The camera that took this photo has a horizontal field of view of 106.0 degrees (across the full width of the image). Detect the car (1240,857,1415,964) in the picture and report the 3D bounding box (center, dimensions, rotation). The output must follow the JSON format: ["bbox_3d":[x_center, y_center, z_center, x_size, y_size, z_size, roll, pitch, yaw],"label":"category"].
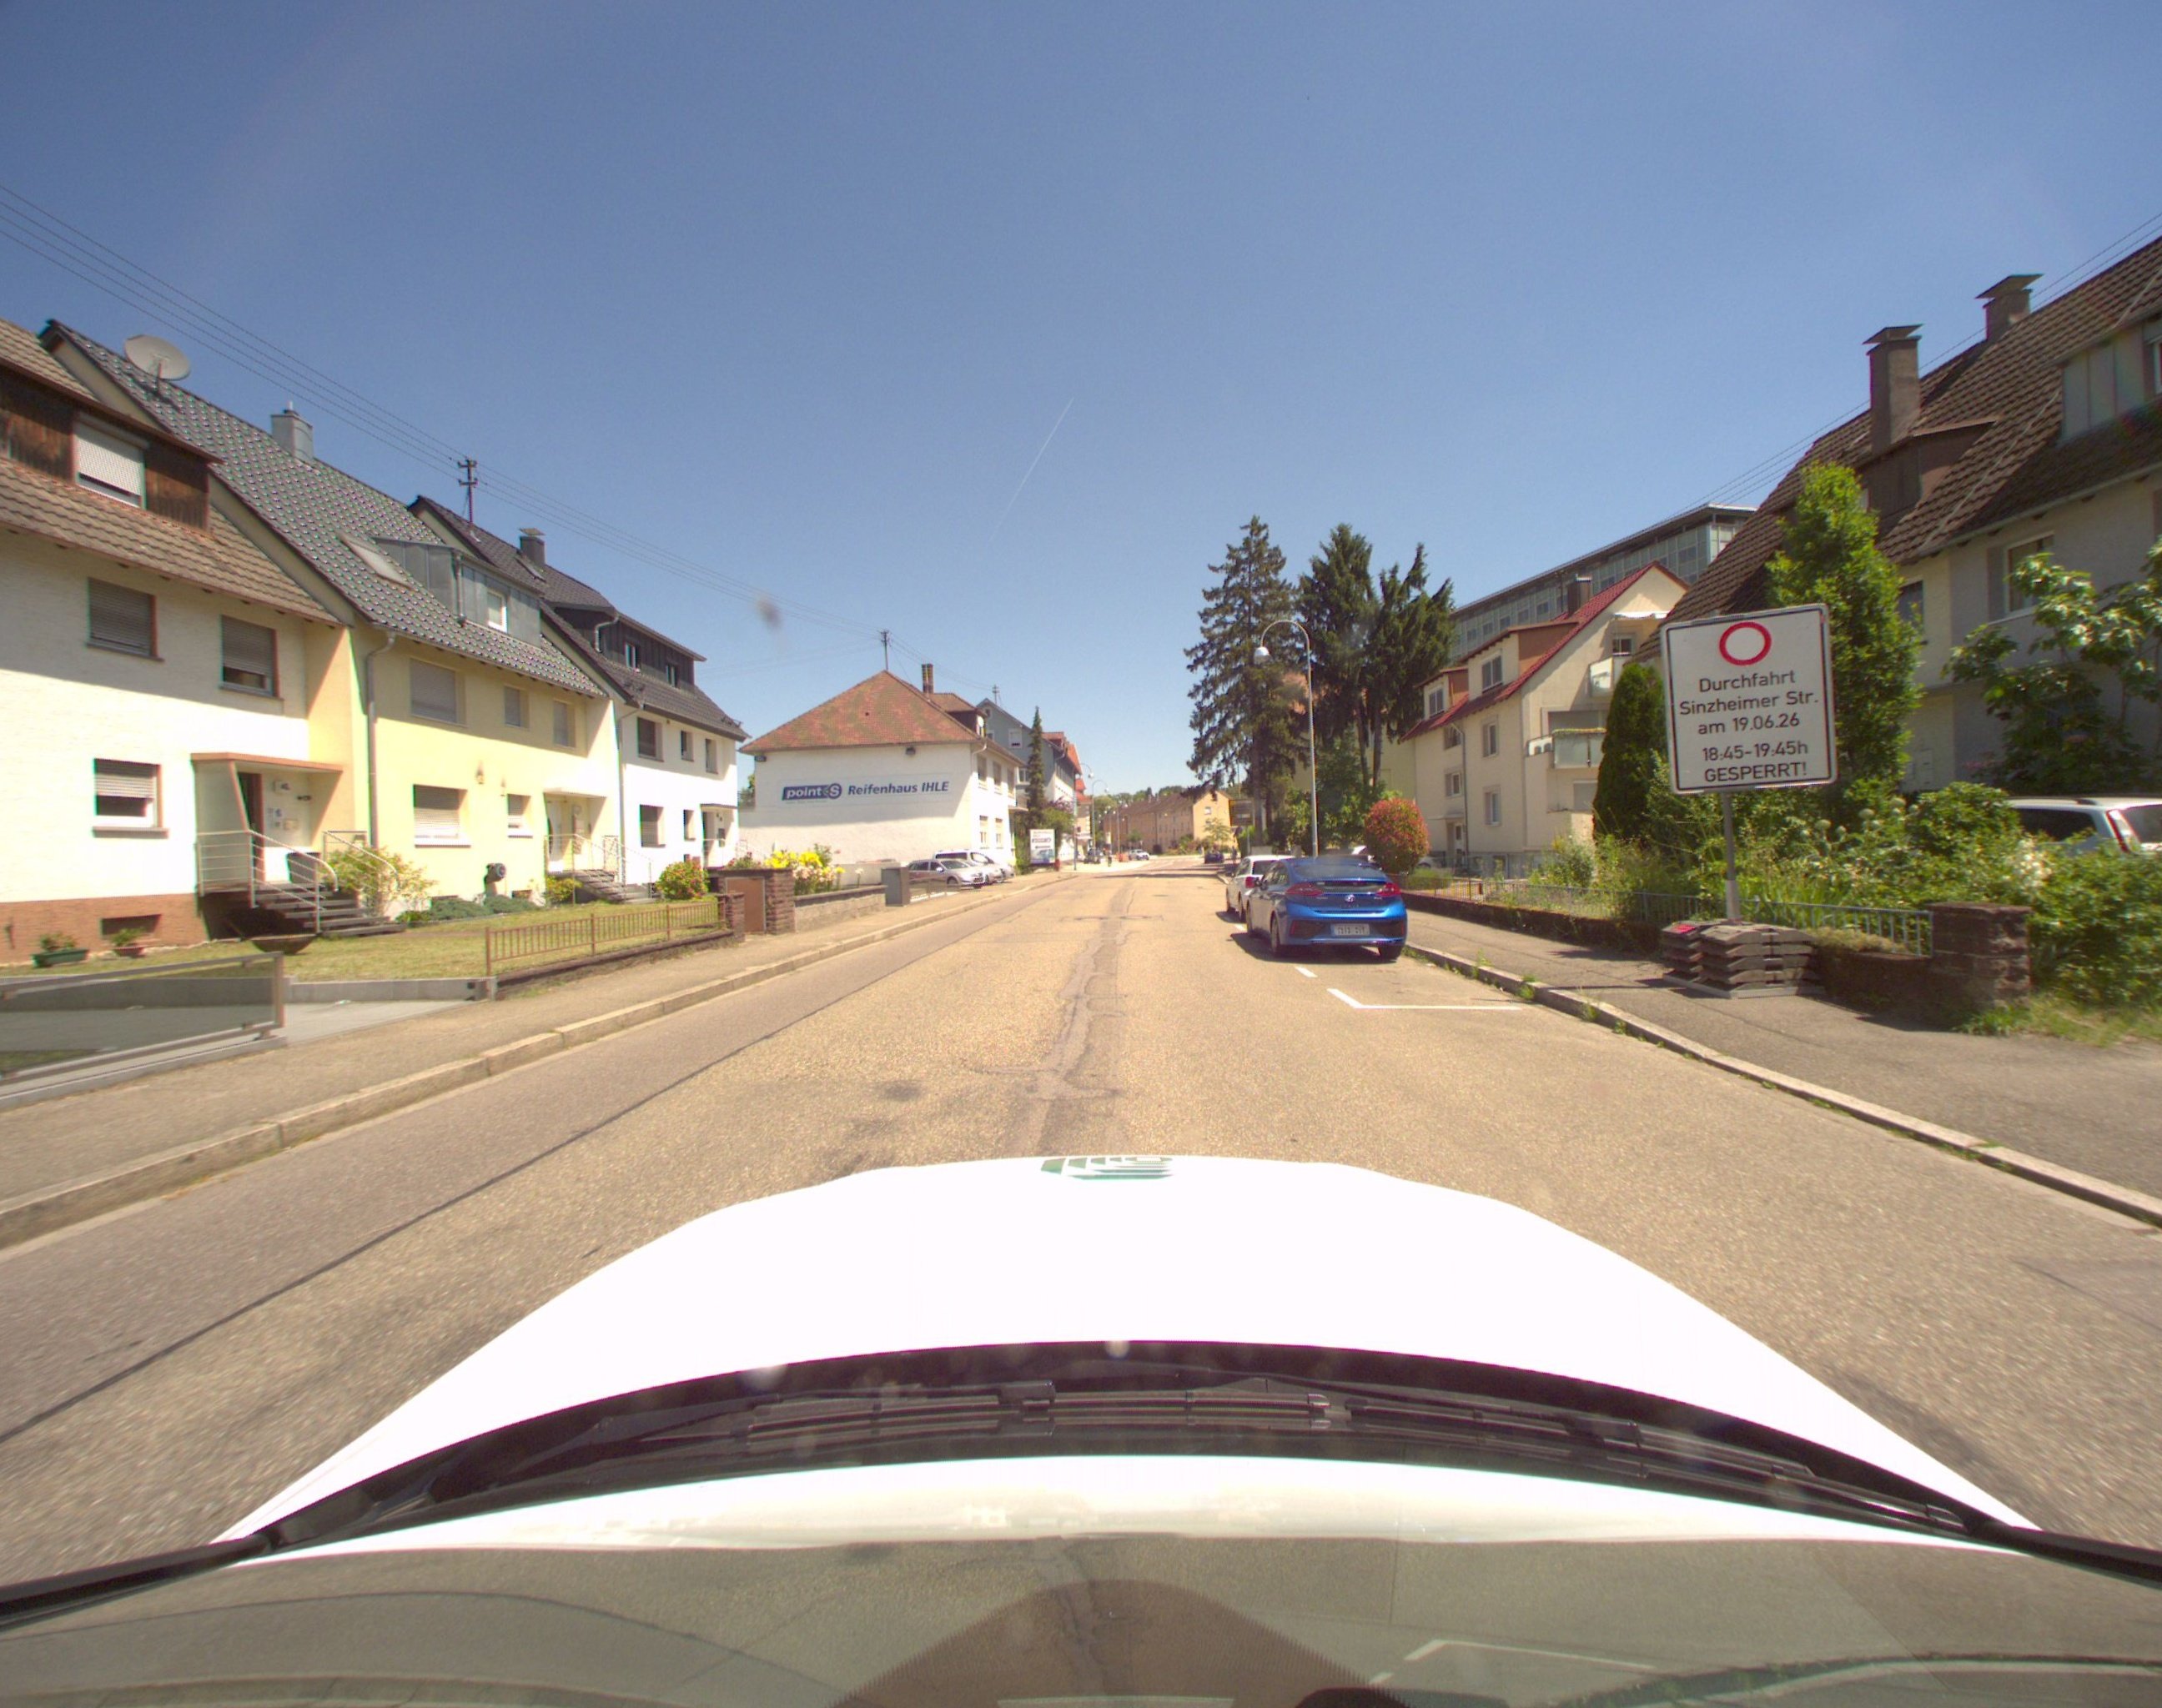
[{"bbox_3d":[3.717,0.762,13.070,1.770,1.405,4.291,1,0,4],"label":"car"}]

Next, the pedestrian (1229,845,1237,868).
[{"bbox_3d":[12.159,0.215,65.152,0.684,1.771,0.693,0,-2,10],"label":"pedestrian"}]

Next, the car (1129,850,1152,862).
[{"bbox_3d":[8.723,0.292,119.597,1.607,1.606,3.374,1,0,-35],"label":"car"}]

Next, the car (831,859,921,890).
[{"bbox_3d":[-9.398,0.924,37.187,4.088,1.344,1.846,-1,0,37],"label":"car"}]

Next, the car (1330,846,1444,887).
[{"bbox_3d":[12.316,0.498,32.963,3.970,1.611,1.835,0,0,3],"label":"car"}]

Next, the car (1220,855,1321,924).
[{"bbox_3d":[4.372,0.753,19.313,1.717,1.419,4.018,1,0,4],"label":"car"}]

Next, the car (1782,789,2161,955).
[{"bbox_3d":[11.086,0.117,9.826,1.788,1.569,4.001,-4,0,1],"label":"car"}]

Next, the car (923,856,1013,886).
[{"bbox_3d":[-5.560,0.823,40.410,4.112,1.394,1.830,-1,0,2],"label":"car"}]

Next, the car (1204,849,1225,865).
[{"bbox_3d":[13.679,0.305,83.202,1.782,1.510,4.015,-1,0,13],"label":"car"}]

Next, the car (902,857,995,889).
[{"bbox_3d":[-6.106,0.863,37.435,4.088,1.344,1.923,-1,0,37],"label":"car"}]

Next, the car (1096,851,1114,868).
[{"bbox_3d":[2.562,0.568,85.240,1.750,1.656,4.004,-1,0,3],"label":"car"}]

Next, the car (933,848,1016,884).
[{"bbox_3d":[-5.591,0.630,43.018,4.116,1.774,1.828,-1,0,-1],"label":"car"}]

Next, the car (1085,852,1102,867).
[{"bbox_3d":[1.462,0.667,93.304,1.750,1.656,4.004,-1,0,3],"label":"car"}]
